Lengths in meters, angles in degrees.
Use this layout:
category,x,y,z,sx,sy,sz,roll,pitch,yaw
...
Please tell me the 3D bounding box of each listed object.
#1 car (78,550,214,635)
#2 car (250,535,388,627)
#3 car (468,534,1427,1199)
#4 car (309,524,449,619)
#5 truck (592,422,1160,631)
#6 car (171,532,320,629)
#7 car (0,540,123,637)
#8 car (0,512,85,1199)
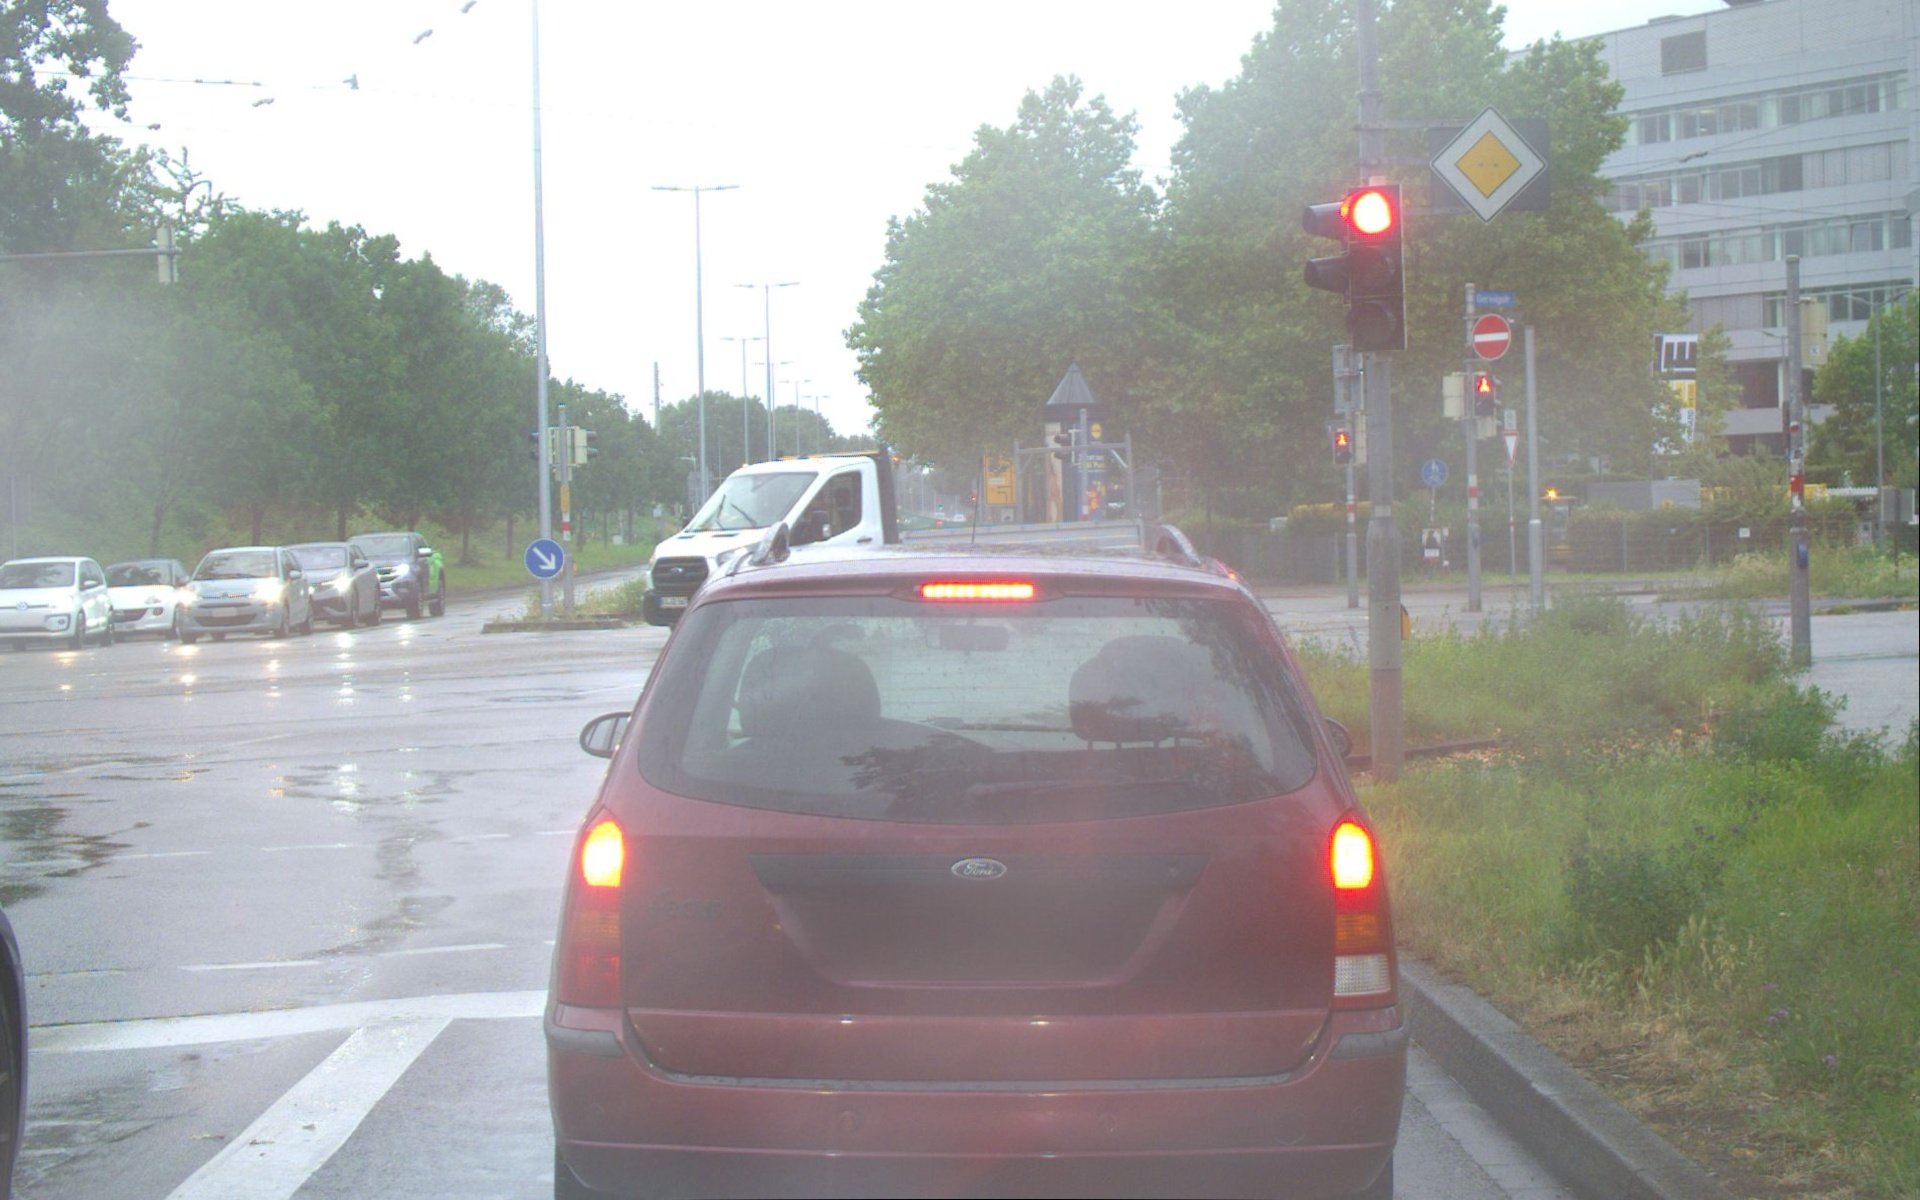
category,x,y,z,sx,sy,sz,roll,pitch,yaw
car,-14.511,-0.157,61.446,1.590,1.399,3.823,-2,1,-2
car,-11.734,-0.359,63.223,1.762,1.580,4.814,-2,1,-2
car,-0.073,0.601,7.813,1.642,1.460,3.733,1,1,-2
car,-12.014,-0.632,71.465,2.065,1.813,5.542,-2,1,-2
truck,-0.917,-0.930,41.946,6.848,2.357,2.481,-2,1,-41
car,-11.634,-0.350,56.160,1.638,1.468,3.965,-2,1,-1
car,-14.634,-0.206,55.117,1.638,1.447,3.788,-2,1,-3
car,-2.691,0.644,4.892,1.769,1.568,4.822,1,1,-2
